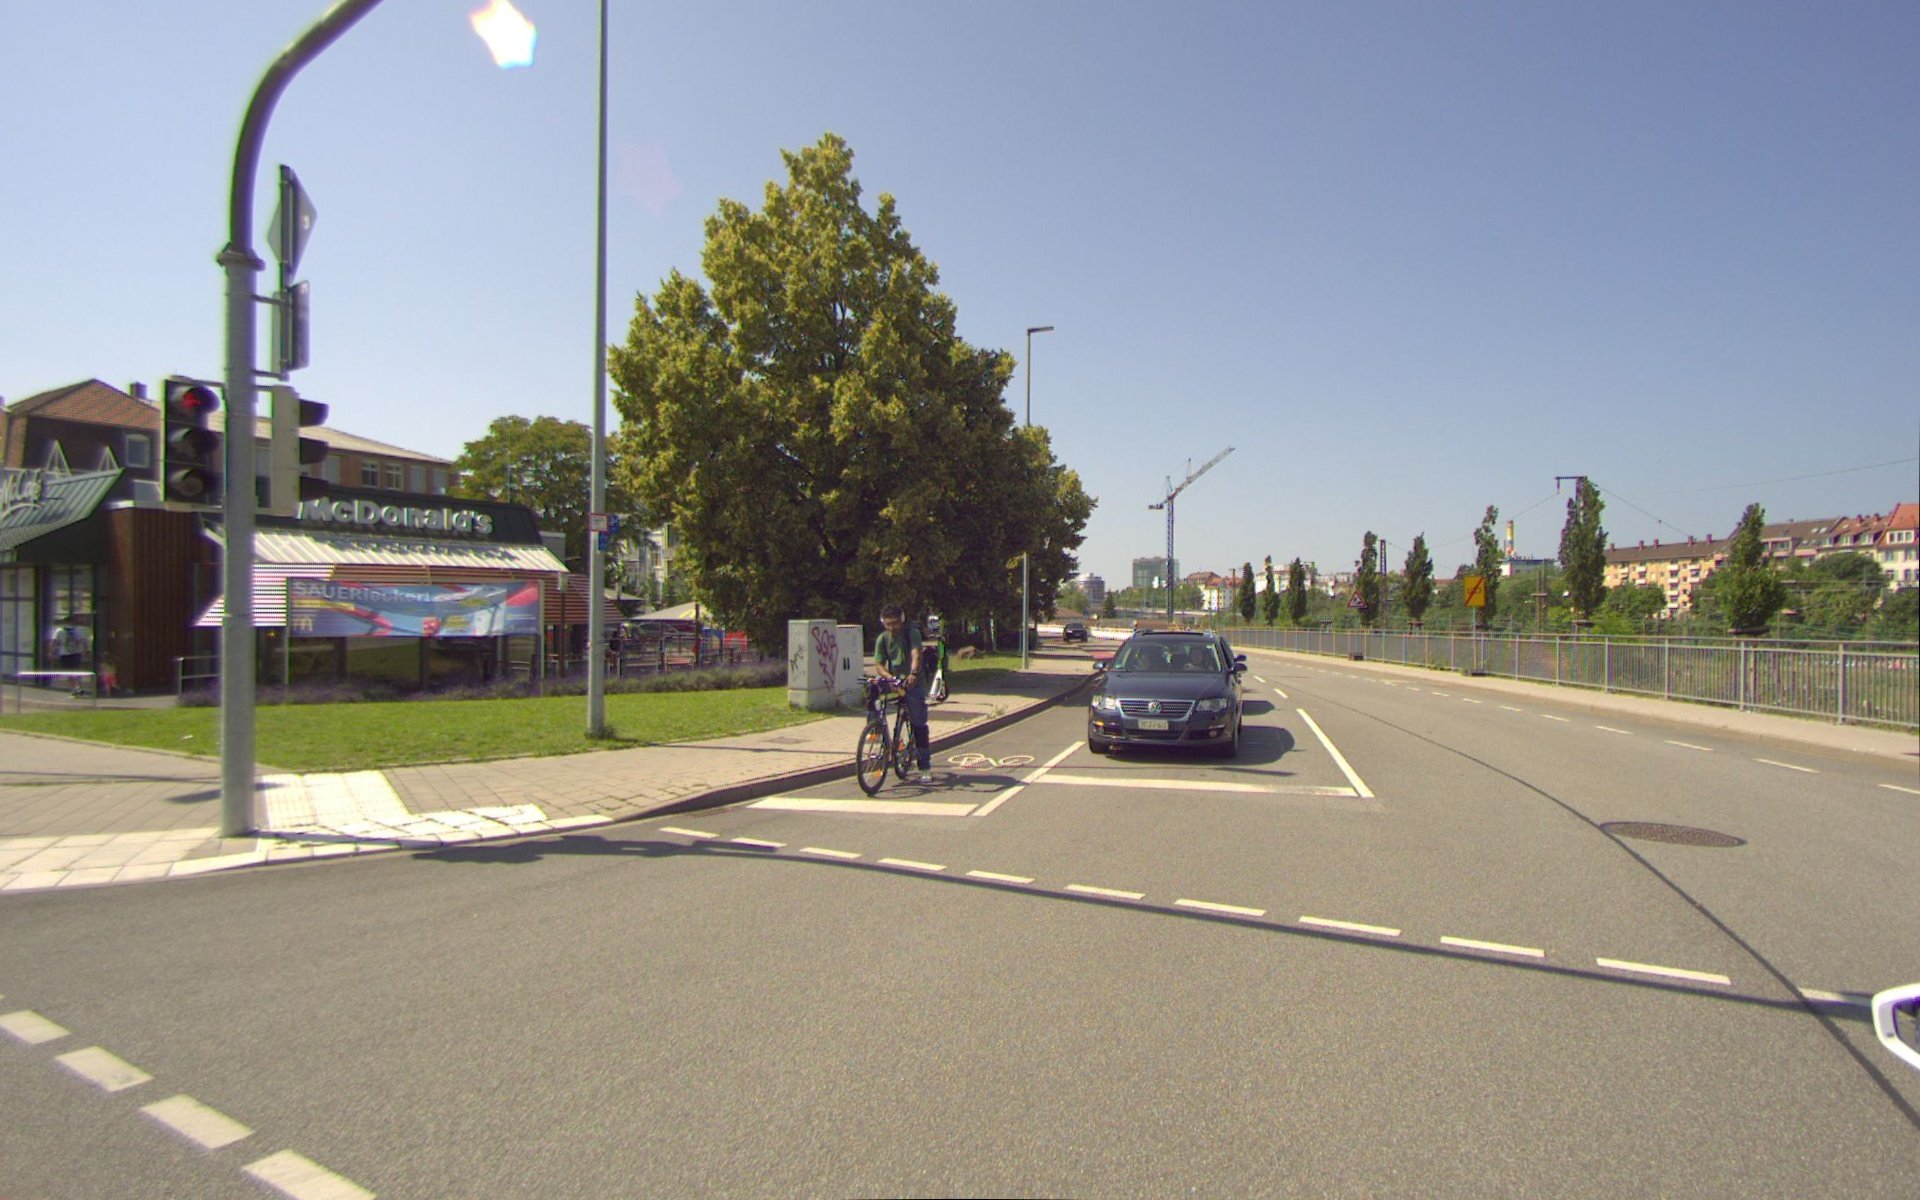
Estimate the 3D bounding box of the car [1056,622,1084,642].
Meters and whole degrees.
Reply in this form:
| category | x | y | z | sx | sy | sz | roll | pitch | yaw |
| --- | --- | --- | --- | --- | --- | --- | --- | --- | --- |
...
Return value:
| category | x | y | z | sx | sy | sz | roll | pitch | yaw |
| --- | --- | --- | --- | --- | --- | --- | --- | --- | --- |
| car | 9.844 | 2.832 | 90.149 | 1.918 | 1.718 | 4.612 | 0 | -1 | -1 |

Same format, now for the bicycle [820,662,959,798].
| category | x | y | z | sx | sy | sz | roll | pitch | yaw |
| --- | --- | --- | --- | --- | --- | --- | --- | --- | --- |
| bicycle | -0.636 | 1.201 | 9.740 | 0.685 | 1.119 | 1.755 | -2 | -1 | 19 |

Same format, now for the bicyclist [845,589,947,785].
| category | x | y | z | sx | sy | sz | roll | pitch | yaw |
| --- | --- | --- | --- | --- | --- | --- | --- | --- | --- |
| bicyclist | -0.613 | 0.822 | 9.806 | 0.699 | 1.812 | 0.809 | -2 | -1 | 20 |

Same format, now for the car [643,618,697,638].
| category | x | y | z | sx | sy | sz | roll | pitch | yaw |
| --- | --- | --- | --- | --- | --- | --- | --- | --- | --- |
| car | -23.220 | 2.253 | 80.583 | 3.926 | 1.619 | 1.796 | 0 | -1 | -8 |

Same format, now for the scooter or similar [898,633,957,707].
| category | x | y | z | sx | sy | sz | roll | pitch | yaw |
| --- | --- | --- | --- | --- | --- | --- | --- | --- | --- |
| scooter or similar | -0.546 | 1.192 | 17.435 | 0.464 | 1.200 | 1.364 | 0 | -1 | 24 |

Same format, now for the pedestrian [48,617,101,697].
| category | x | y | z | sx | sy | sz | roll | pitch | yaw |
| --- | --- | --- | --- | --- | --- | --- | --- | --- | --- |
| pedestrian | -20.280 | 1.285 | 23.007 | 0.876 | 1.781 | 0.637 | 0 | -1 | 27 |

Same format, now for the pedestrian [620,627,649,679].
| category | x | y | z | sx | sy | sz | roll | pitch | yaw |
| --- | --- | --- | --- | --- | --- | --- | --- | --- | --- |
| pedestrian | -12.944 | 2.092 | 39.961 | 0.818 | 2.040 | 0.753 | 0 | -1 | 8 |

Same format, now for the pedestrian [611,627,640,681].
| category | x | y | z | sx | sy | sz | roll | pitch | yaw |
| --- | --- | --- | --- | --- | --- | --- | --- | --- | --- |
| pedestrian | -13.018 | 2.094 | 39.137 | 0.818 | 2.040 | 0.753 | 0 | -1 | 8 |

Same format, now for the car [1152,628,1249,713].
| category | x | y | z | sx | sy | sz | roll | pitch | yaw |
| --- | --- | --- | --- | --- | --- | --- | --- | --- | --- |
| car | 4.587 | 1.269 | 19.295 | 1.628 | 1.399 | 4.002 | 0 | -1 | 13 |

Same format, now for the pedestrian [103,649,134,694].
| category | x | y | z | sx | sy | sz | roll | pitch | yaw |
| --- | --- | --- | --- | --- | --- | --- | --- | --- | --- |
| pedestrian | -19.421 | 1.645 | 23.180 | 0.501 | 1.010 | 0.381 | 0 | -1 | 27 |

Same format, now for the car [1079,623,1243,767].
| category | x | y | z | sx | sy | sz | roll | pitch | yaw |
| --- | --- | --- | --- | --- | --- | --- | --- | --- | --- |
| car | 2.850 | 1.092 | 13.411 | 1.750 | 1.516 | 4.724 | 0 | -1 | 16 |
